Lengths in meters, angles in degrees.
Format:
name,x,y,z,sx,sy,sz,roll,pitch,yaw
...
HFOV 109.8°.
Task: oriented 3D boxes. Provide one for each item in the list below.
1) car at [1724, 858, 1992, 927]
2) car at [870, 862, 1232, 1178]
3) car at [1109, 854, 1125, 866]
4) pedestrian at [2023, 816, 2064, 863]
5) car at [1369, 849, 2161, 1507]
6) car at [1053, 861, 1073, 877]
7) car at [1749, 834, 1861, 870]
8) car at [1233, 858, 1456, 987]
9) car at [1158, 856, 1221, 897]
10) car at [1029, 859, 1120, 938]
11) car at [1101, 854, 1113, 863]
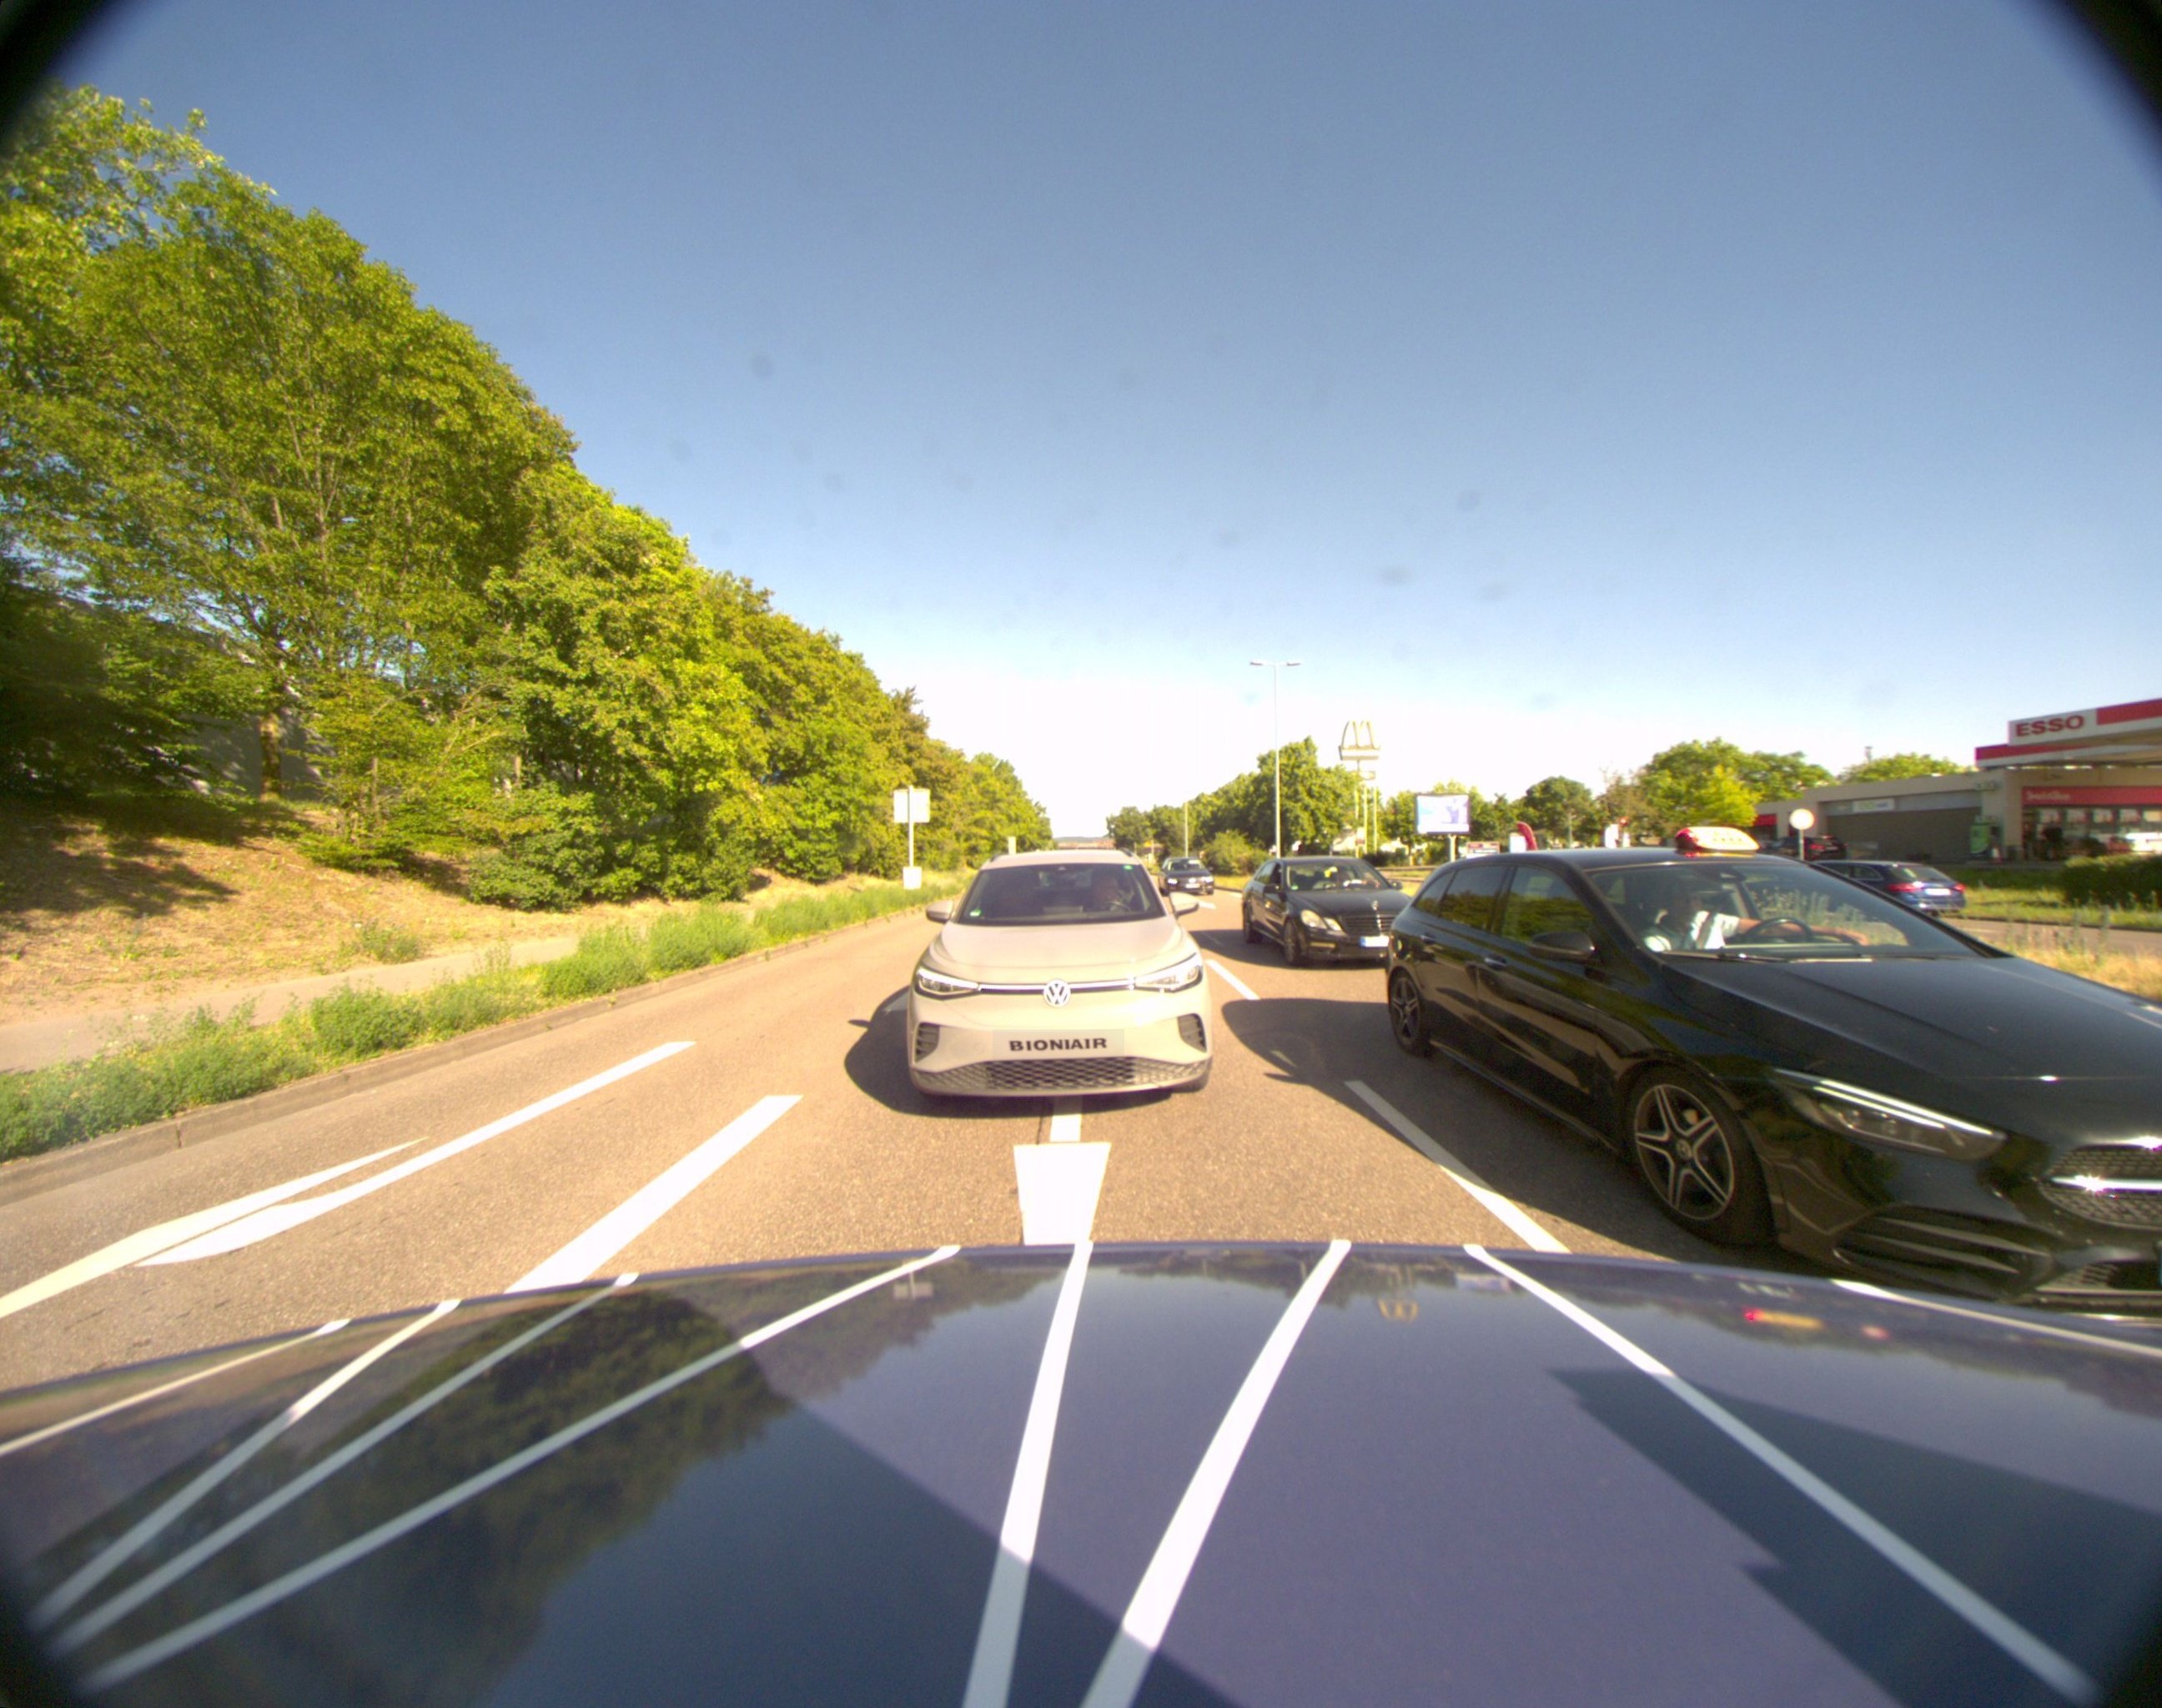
name,x,y,z,sx,sy,sz,roll,pitch,yaw
car,19.144,0.874,19.121,1.909,1.437,4.606,1,0,-2
car,-0.134,0.900,5.984,1.871,1.588,3.932,-2,0,1
car,4.687,0.761,100.006,1.862,1.578,4.403,-1,0,1
pedestrian,41.834,-0.609,33.020,0.703,2.002,0.840,-1,0,1
car,3.166,0.810,3.968,1.804,1.616,4.188,-1,0,2
car,-1.850,1.501,78.035,1.862,1.578,4.404,-1,0,1
car,37.667,-0.104,39.676,1.998,1.759,4.118,-1,0,2
car,3.647,0.851,11.456,1.862,1.515,4.403,-1,0,1
car,4.187,0.826,29.949,1.862,1.472,4.403,-1,0,1
car,-0.112,0.900,16.959,1.765,1.503,3.760,-2,0,1
car,4.453,0.753,130.729,1.862,1.578,4.403,-1,0,1
